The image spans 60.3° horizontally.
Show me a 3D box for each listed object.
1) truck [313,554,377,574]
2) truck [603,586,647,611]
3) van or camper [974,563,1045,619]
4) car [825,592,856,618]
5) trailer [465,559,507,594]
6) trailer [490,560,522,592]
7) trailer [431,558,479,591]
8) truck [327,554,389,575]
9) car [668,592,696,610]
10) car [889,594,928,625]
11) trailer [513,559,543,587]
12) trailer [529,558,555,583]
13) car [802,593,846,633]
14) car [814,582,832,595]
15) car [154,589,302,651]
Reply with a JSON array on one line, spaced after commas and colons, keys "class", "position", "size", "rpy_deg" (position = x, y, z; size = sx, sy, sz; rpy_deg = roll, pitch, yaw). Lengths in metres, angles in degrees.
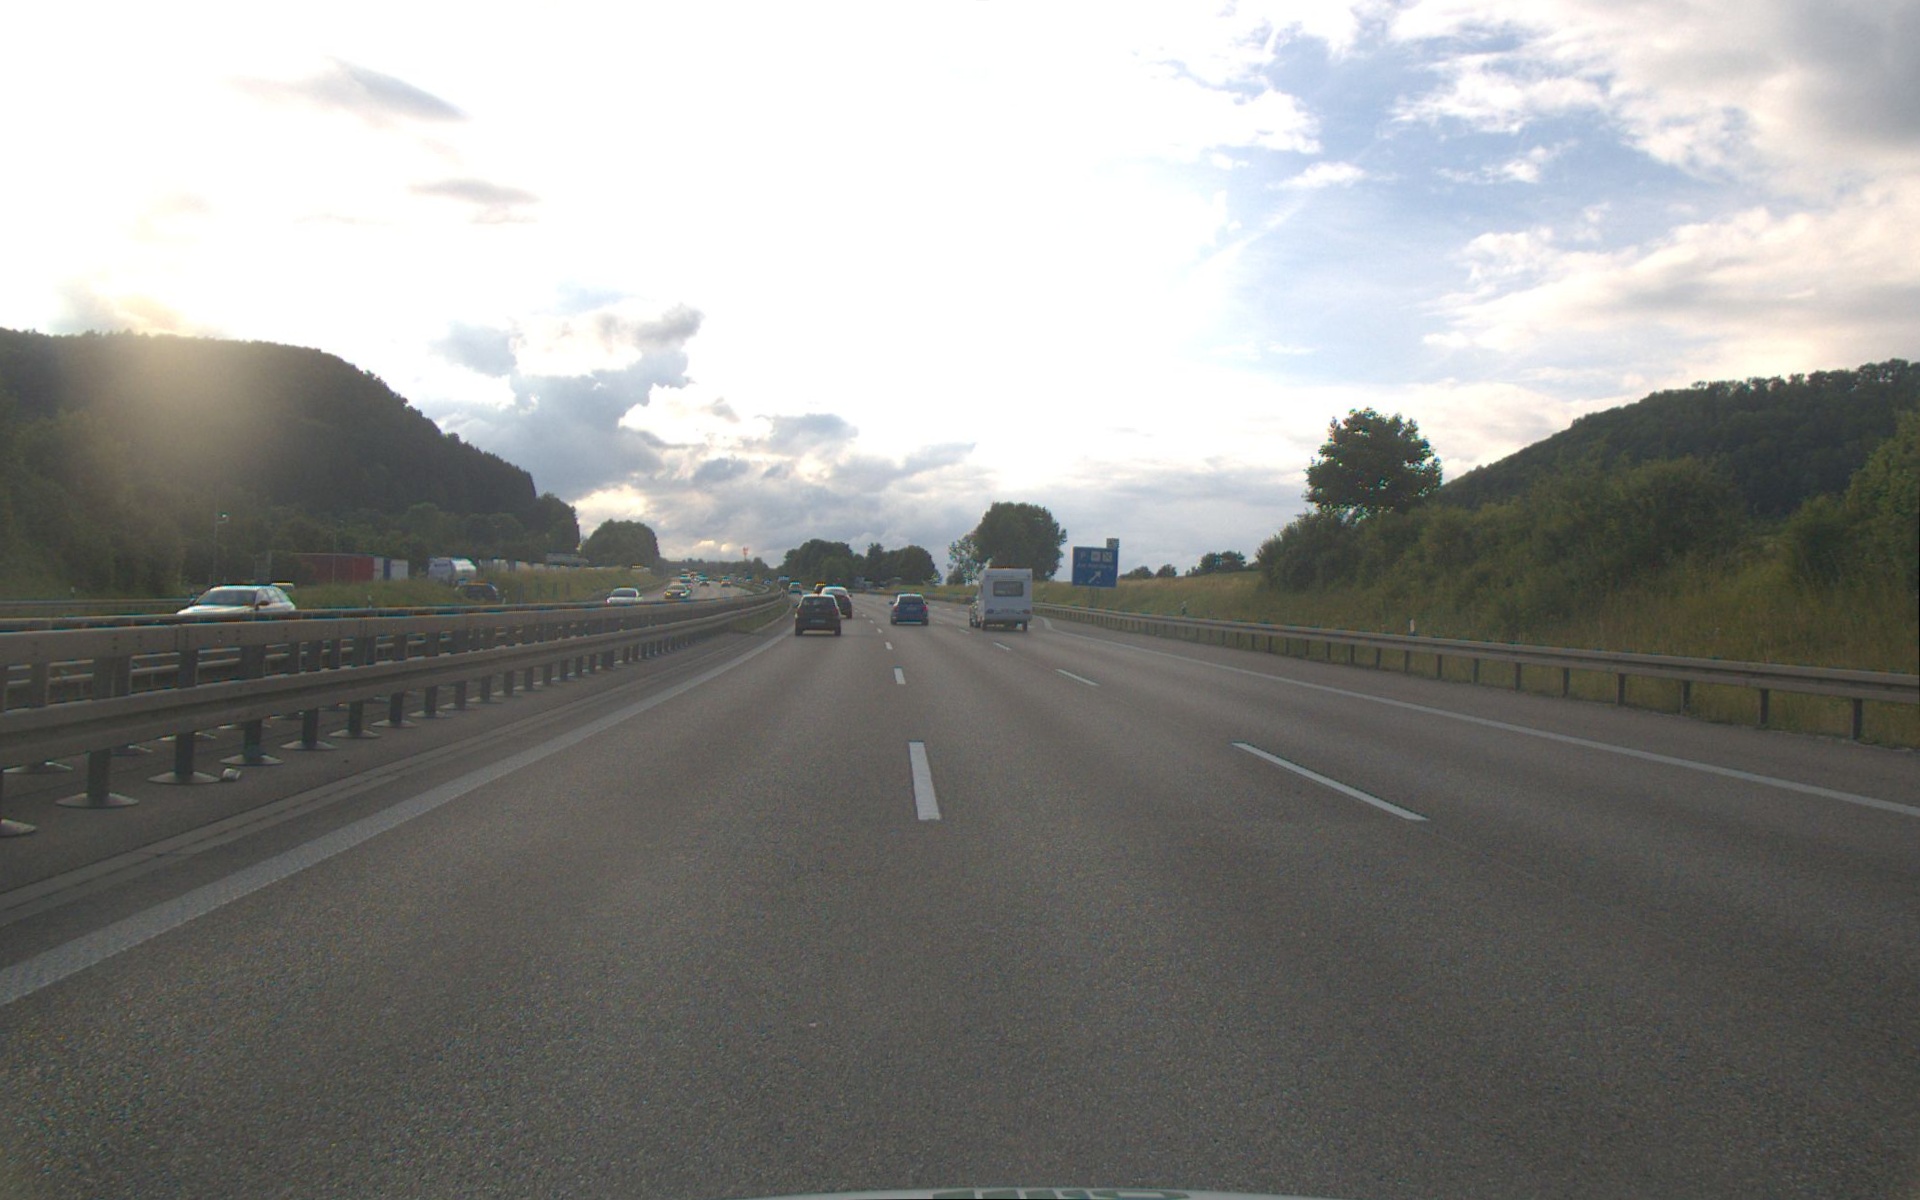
[{"class": "truck", "position": [-65.824, -3.851, 177.046], "size": [7.162, 2.049, 2.889], "rpy_deg": [0, -1, 36]}, {"class": "truck", "position": [-19.163, -0.100, 94.670], "size": [1.955, 1.389, 4.641], "rpy_deg": [0, 0, -5]}, {"class": "van or camper", "position": [2.040, -0.334, 70.416], "size": [2.498, 2.278, 5.324], "rpy_deg": [0, -1, -4]}, {"class": "car", "position": [-6.755, 0.265, 93.271], "size": [1.535, 1.404, 3.994], "rpy_deg": [0, 0, -7]}, {"class": "trailer", "position": [-53.554, -2.612, 187.347], "size": [2.824, 3.761, 13.649], "rpy_deg": [-1, 0, -9]}, {"class": "trailer", "position": [-57.441, -3.019, 209.560], "size": [2.826, 3.761, 13.639], "rpy_deg": [-1, 0, -11]}, {"class": "trailer", "position": [-49.781, -2.470, 163.352], "size": [2.530, 2.903, 12.240], "rpy_deg": [1, -1, -8]}, {"class": "truck", "position": [-66.291, -3.873, 182.066], "size": [7.162, 2.265, 2.890], "rpy_deg": [1, 1, 36]}, {"class": "car", "position": [-23.642, 0.071, 140.847], "size": [1.954, 1.523, 4.687], "rpy_deg": [-1, 0, -5]}, {"class": "car", "position": [-2.499, 0.437, 79.054], "size": [1.732, 1.458, 3.997], "rpy_deg": [-1, 0, -3]}, {"class": "trailer", "position": [-60.211, -3.765, 230.614], "size": [2.823, 3.760, 10.353], "rpy_deg": [0, 1, -8]}, {"class": "trailer", "position": [-63.764, -4.493, 252.406], "size": [2.823, 3.760, 10.353], "rpy_deg": [0, 1, -8]}, {"class": "car", "position": [-4.919, 0.452, 60.147], "size": [1.507, 1.371, 3.674], "rpy_deg": [0, 0, -4]}, {"class": "car", "position": [-18.692, -1.577, 225.579], "size": [1.917, 1.601, 4.001], "rpy_deg": [1, -1, 2]}, {"class": "car", "position": [-18.639, 0.522, 42.306], "size": [1.952, 1.512, 4.000], "rpy_deg": [0, -1, 1]}]
